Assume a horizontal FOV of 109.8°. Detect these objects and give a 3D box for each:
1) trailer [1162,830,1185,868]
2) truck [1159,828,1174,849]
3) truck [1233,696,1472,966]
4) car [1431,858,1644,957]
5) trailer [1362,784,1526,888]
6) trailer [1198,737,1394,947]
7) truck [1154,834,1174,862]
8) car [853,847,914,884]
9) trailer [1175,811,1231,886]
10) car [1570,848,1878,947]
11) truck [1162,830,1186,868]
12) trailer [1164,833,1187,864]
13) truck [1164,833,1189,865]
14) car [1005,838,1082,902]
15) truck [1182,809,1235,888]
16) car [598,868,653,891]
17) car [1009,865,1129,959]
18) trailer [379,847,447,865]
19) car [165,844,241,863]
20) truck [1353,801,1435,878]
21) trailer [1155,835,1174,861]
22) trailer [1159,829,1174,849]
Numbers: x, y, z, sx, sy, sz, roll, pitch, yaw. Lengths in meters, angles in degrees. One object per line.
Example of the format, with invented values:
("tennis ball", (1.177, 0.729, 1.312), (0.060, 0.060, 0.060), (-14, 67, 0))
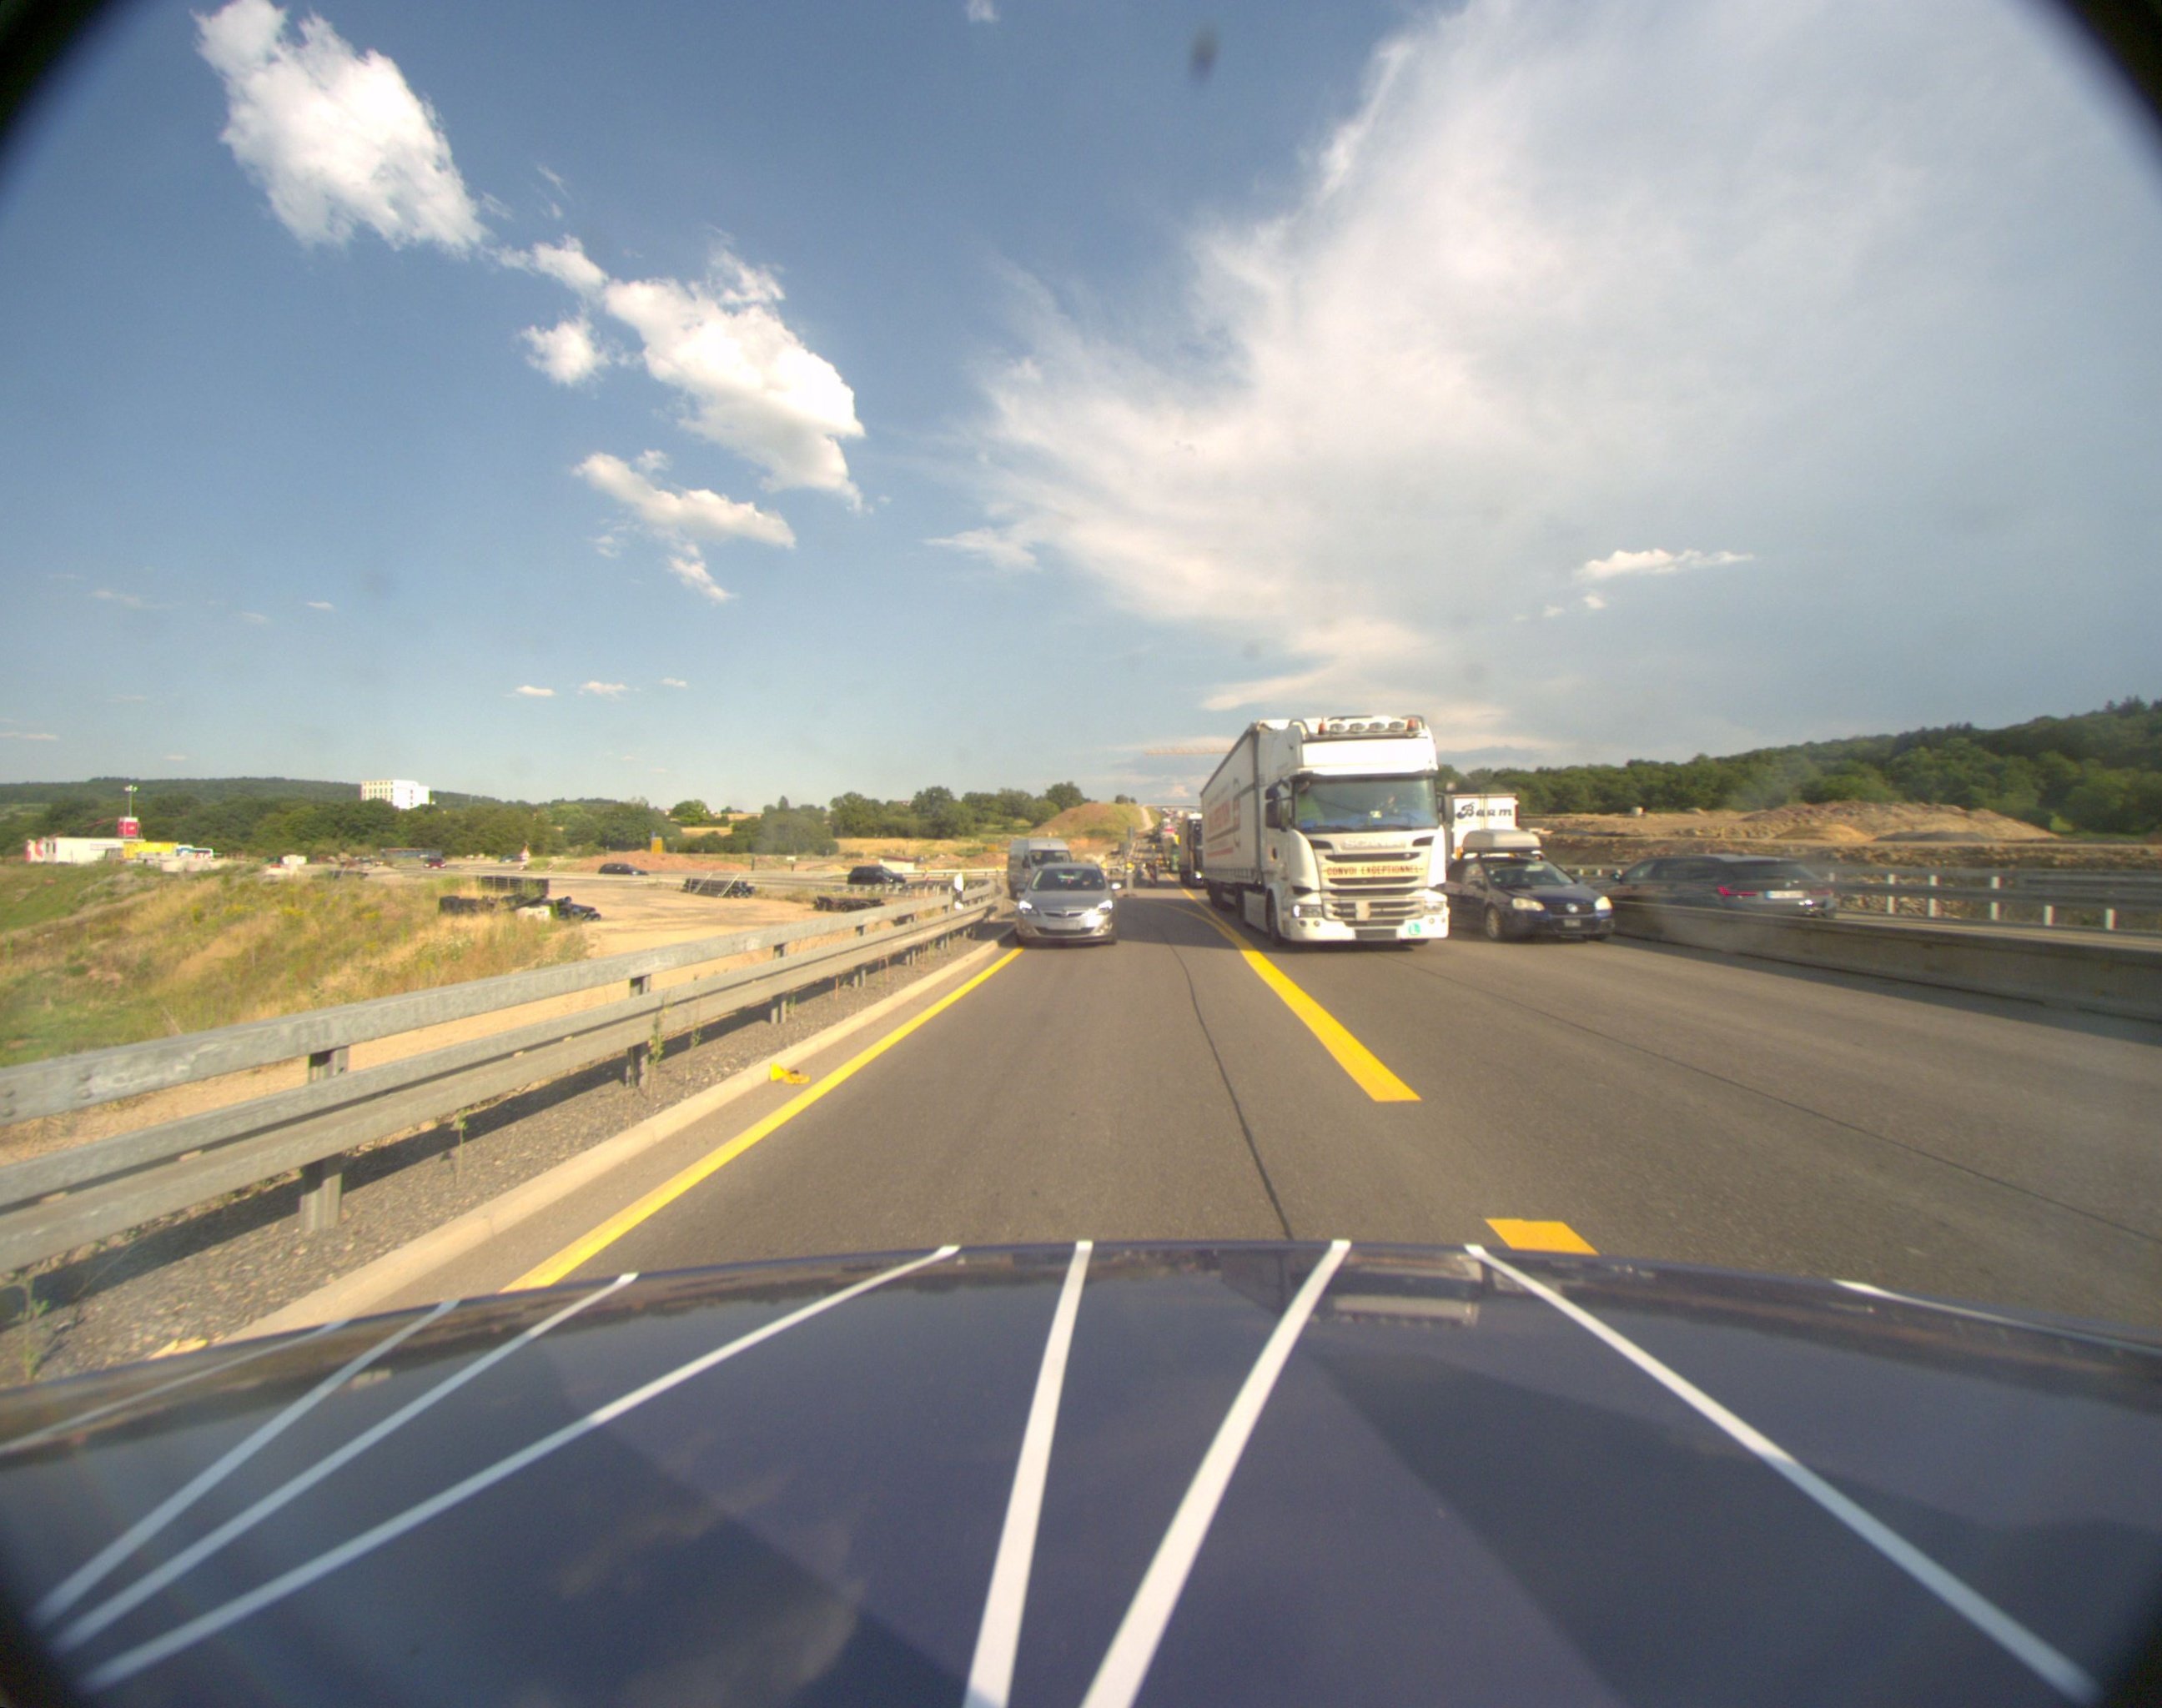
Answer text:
("trailer", (10.532, -0.592, 87.371), (2.485, 3.936, 13.981), (0, 1, 6))
("truck", (18.129, -3.211, 160.722), (3.109, 4.289, 6.899), (1, 1, 7))
("truck", (4.479, -0.346, 13.897), (2.486, 3.856, 6.012), (0, 1, 3))
("car", (7.941, 0.834, 13.692), (1.824, 1.476, 3.921), (-1, 0, 6))
("trailer", (16.937, -0.772, 37.030), (2.632, 4.043, 14.085), (1, 1, 6))
("trailer", (4.997, -0.271, 20.790), (2.486, 3.856, 13.634), (0, 1, 4))
("truck", (13.788, -0.997, 125.663), (3.109, 4.289, 6.899), (1, 1, 7))
("car", (-13.667, 0.784, 52.518), (3.988, 2.389, 1.881), (2, 1, 35))
("trailer", (7.442, -0.343, 47.935), (2.485, 4.038, 13.634), (0, 1, 5))
("car", (11.157, 0.634, 13.753), (1.997, 1.457, 4.537), (1, 1, 5))
("truck", (9.888, -0.555, 81.312), (2.485, 3.879, 6.014), (0, 1, 6))
("trailer", (13.953, -0.784, 112.569), (3.109, 4.289, 14.258), (1, 1, 6))
("truck", (13.139, -0.715, 104.882), (3.109, 4.289, 6.899), (1, 1, 7))
("car", (-1.717, 0.582, 32.381), (1.919, 2.486, 5.788), (1, 1, -17))
("truck", (6.950, -0.314, 42.050), (2.485, 4.037, 6.014), (0, 1, 6))
("car", (-38.999, 2.134, 65.067), (4.119, 1.776, 1.639), (1, 1, 14))
("car", (-0.071, 0.973, 14.561), (1.746, 1.476, 4.254), (0, 0, 6))
("trailer", (-89.550, 0.211, 102.011), (3.012, 2.400, 7.225), (0, 1, -3))
("car", (-103.973, -0.069, 90.056), (2.482, 2.067, 5.327), (1, 1, 18))
("truck", (17.624, -0.793, 43.185), (2.632, 4.043, 6.132), (1, 1, 6))
("trailer", (14.623, -1.044, 132.978), (3.109, 4.289, 14.258), (1, 1, 6))
("trailer", (19.057, -3.300, 169.484), (3.109, 4.289, 14.258), (1, 1, 6))
